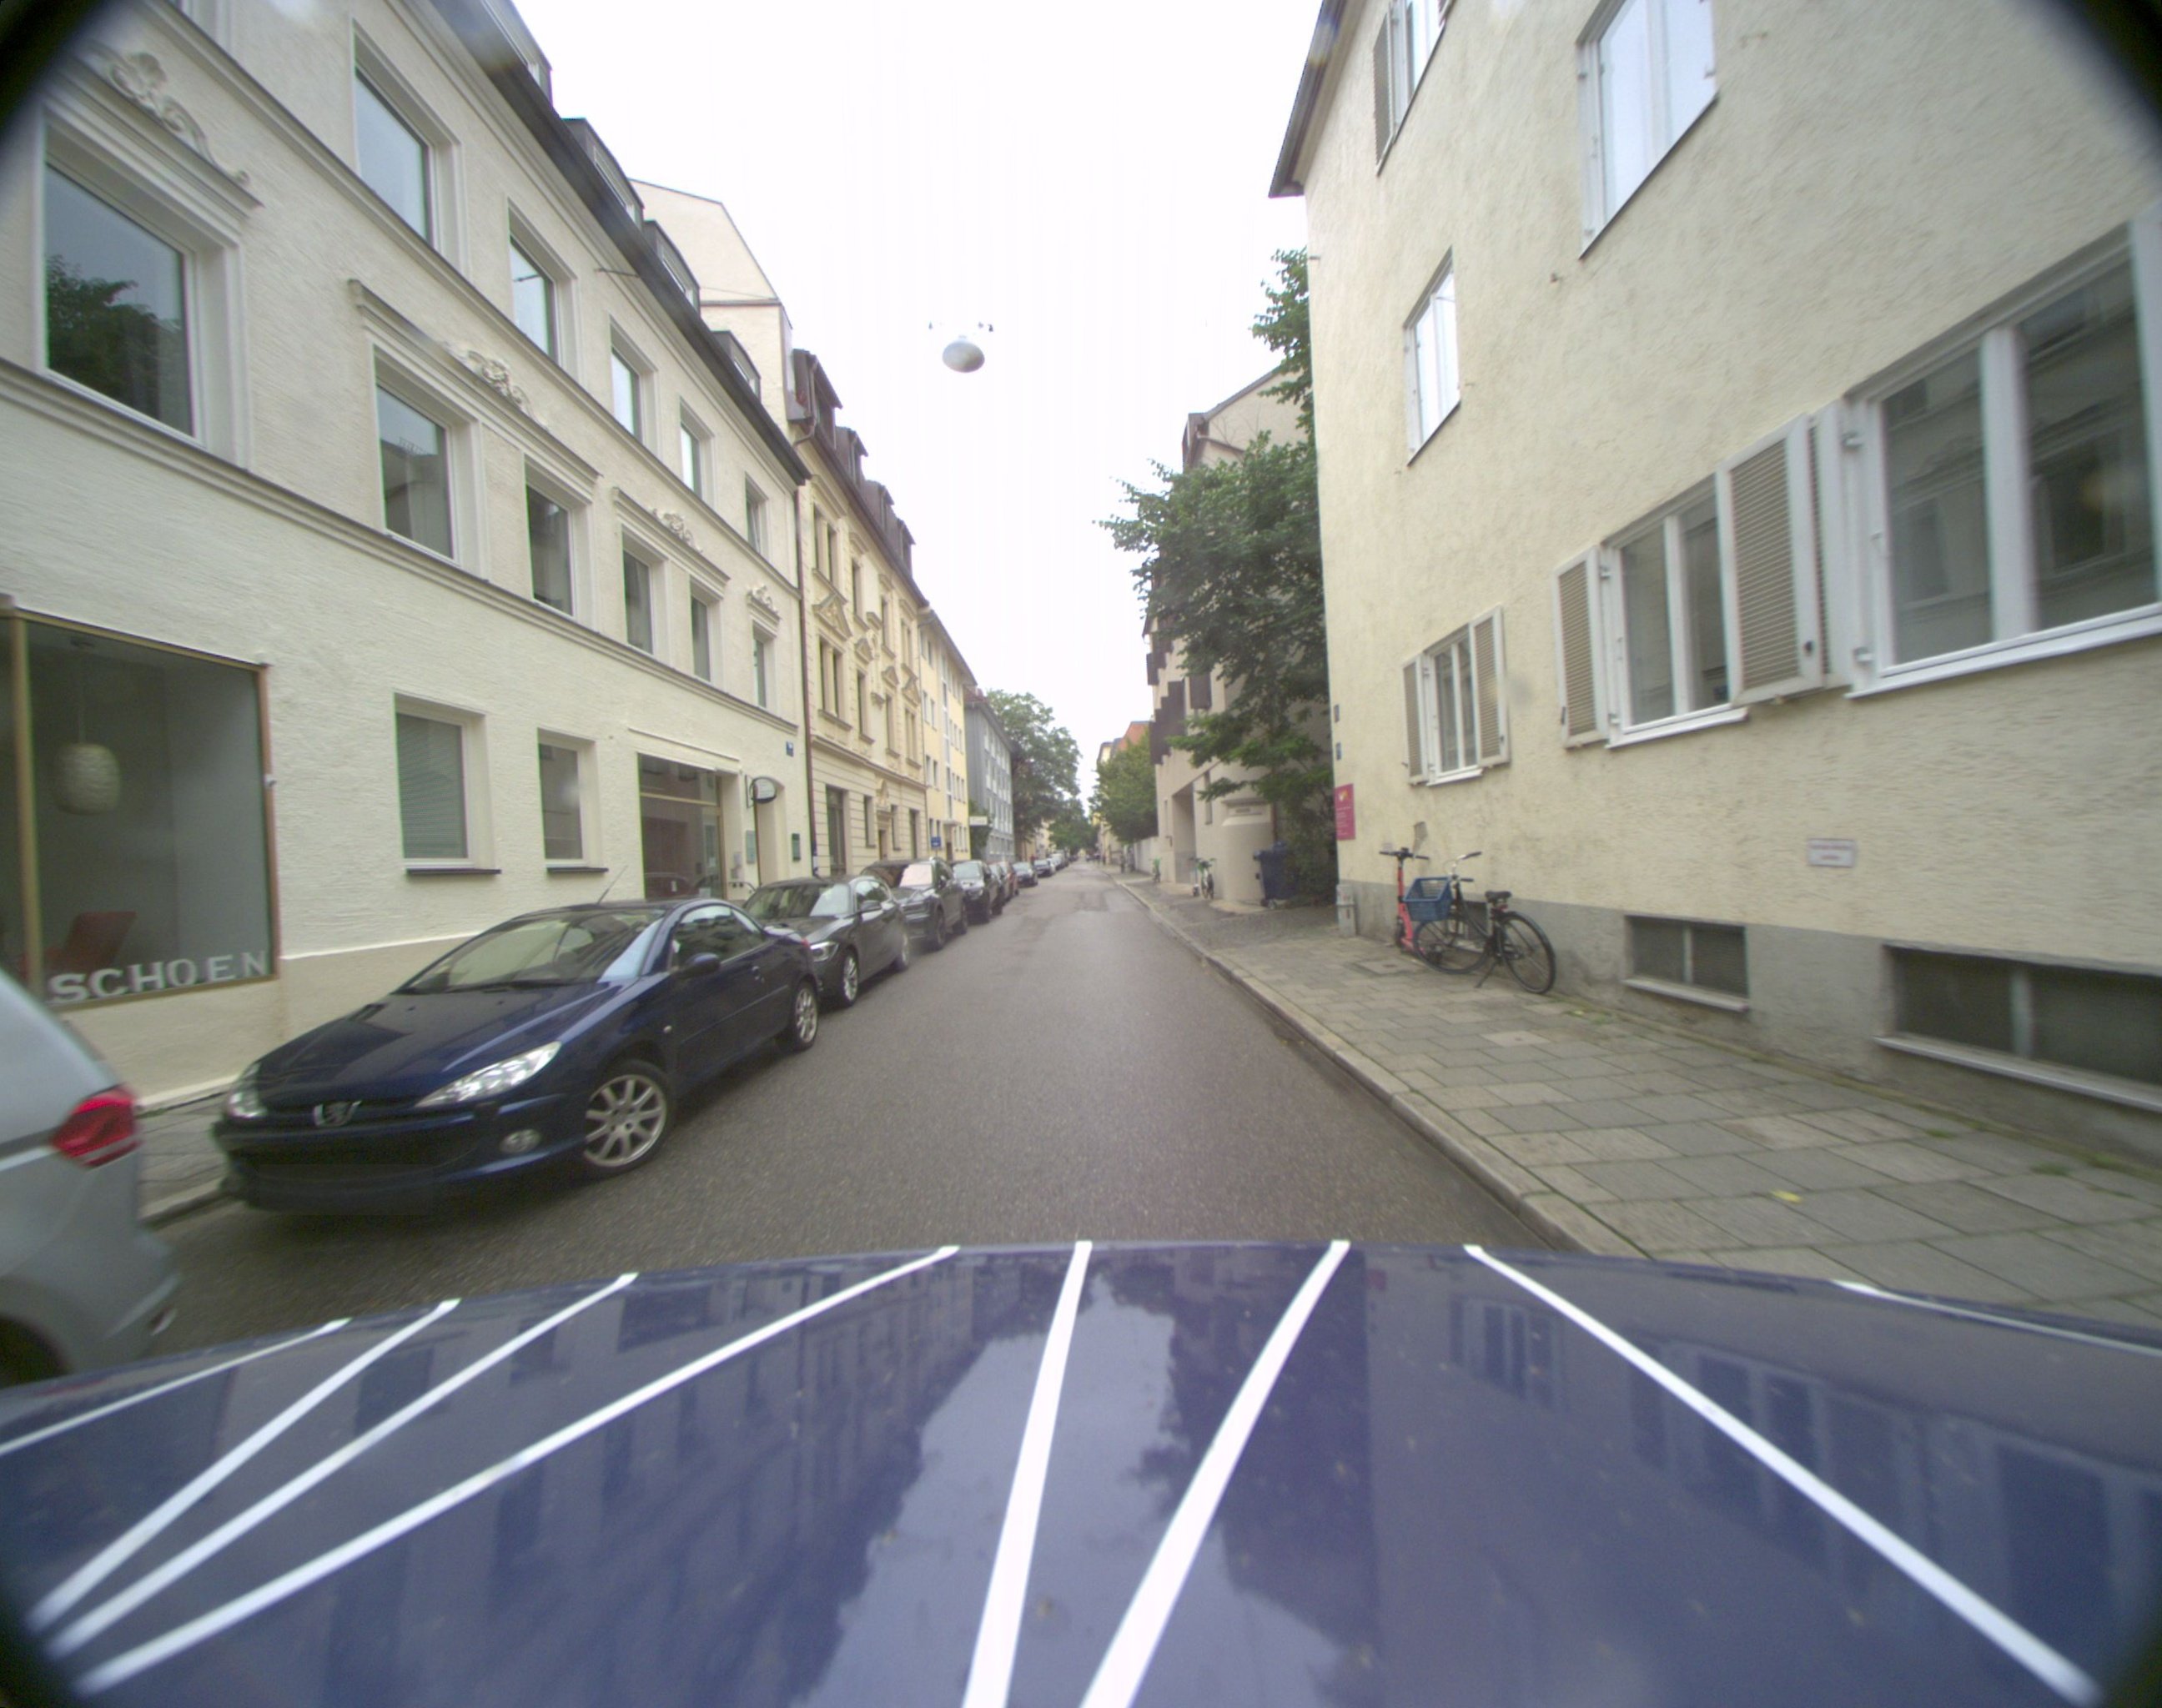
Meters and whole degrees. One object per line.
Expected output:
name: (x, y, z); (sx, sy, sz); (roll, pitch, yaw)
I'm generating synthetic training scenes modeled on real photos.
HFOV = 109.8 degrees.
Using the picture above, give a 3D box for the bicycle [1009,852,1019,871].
bicycle: (-5.570, 0.613, 63.267); (0.515, 1.478, 2.279); (-3, 0, 1)

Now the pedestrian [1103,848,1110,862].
pedestrian: (3.297, 0.101, 97.378); (0.766, 1.742, 0.970); (-3, 1, 0)

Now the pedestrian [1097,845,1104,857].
pedestrian: (2.991, -0.409, 116.072); (0.920, 1.742, 1.066); (-3, 1, 0)

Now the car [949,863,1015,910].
car: (-3.342, 1.065, 26.439); (1.680, 1.385, 4.065); (-3, 0, 0)

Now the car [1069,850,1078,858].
car: (-1.992, -0.013, 210.266); (2.014, 1.969, 5.090); (-6, 0, 1)

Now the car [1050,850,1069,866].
car: (-2.786, 0.468, 99.642); (1.998, 2.002, 5.064); (-3, 0, 3)

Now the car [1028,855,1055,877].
car: (-2.997, 0.920, 58.562); (1.846, 1.420, 4.263); (-7, 0, -2)

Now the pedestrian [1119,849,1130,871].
pedestrian: (3.249, 0.427, 56.782); (0.624, 1.570, 0.714); (-4, 1, 0)

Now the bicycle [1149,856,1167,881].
bicycle: (3.598, 0.662, 35.580); (0.539, 1.132, 1.916); (-5, 0, 0)

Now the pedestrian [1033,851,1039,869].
pedestrian: (-4.960, 0.681, 83.926); (0.581, 1.966, 0.455); (-3, 1, 0)

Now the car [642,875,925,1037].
car: (-3.337, 1.047, 9.552); (1.804, 1.377, 4.348); (-2, 0, 0)

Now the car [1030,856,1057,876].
car: (-3.085, 0.958, 63.391); (1.794, 1.393, 4.485); (-7, 0, 1)

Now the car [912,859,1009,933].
car: (-3.038, 0.990, 20.044); (1.706, 1.597, 4.684); (-3, 0, 0)

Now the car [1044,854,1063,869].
car: (-3.012, 0.816, 83.085); (1.860, 1.366, 4.509); (-5, 0, -1)

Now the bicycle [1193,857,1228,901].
bicycle: (3.718, 0.704, 21.937); (0.545, 1.154, 1.882); (-5, 0, -1)

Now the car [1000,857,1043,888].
car: (-3.169, 0.962, 41.174); (1.830, 1.327, 4.508); (-7, 0, 0)

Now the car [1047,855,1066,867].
car: (-2.816, 0.769, 88.308); (1.998, 1.306, 4.593); (-3, 0, 1)

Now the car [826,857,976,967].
car: (-3.216, 0.940, 14.497); (1.680, 1.651, 4.512); (-3, 0, 0)

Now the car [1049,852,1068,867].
car: (-2.749, 0.630, 93.622); (1.998, 1.677, 4.510); (-3, 0, 1)

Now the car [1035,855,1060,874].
car: (-2.974, 0.901, 68.452); (1.773, 1.437, 4.344); (-7, 0, 1)

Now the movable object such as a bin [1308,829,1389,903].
movable object such as a bin: (5.736, 0.257, 16.385); (1.177, 1.396, 1.249); (-8, -1, 2)

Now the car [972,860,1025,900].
car: (-3.401, 1.036, 31.879); (1.680, 1.484, 3.853); (-3, 0, 0)

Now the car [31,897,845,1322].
car: (-3.101, 1.105, 4.912); (1.812, 1.355, 3.945); (-2, 0, 1)

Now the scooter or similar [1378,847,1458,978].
scooter or similar: (3.784, 0.607, 8.600); (0.318, 1.368, 1.239); (-2, 1, 0)

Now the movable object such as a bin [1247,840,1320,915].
movable object such as a bin: (4.381, 0.501, 16.546); (1.177, 1.433, 1.249); (-8, -1, 6)

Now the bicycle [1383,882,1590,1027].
bicycle: (3.550, 0.820, 6.872); (0.705, 0.978, 1.822); (-7, 1, -4)

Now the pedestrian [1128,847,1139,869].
pedestrian: (3.937, 0.306, 56.810); (0.615, 1.612, 0.687); (-5, 1, 1)

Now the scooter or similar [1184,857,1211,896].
scooter or similar: (3.685, 0.697, 24.002); (0.553, 1.137, 1.359); (-5, 1, 17)
